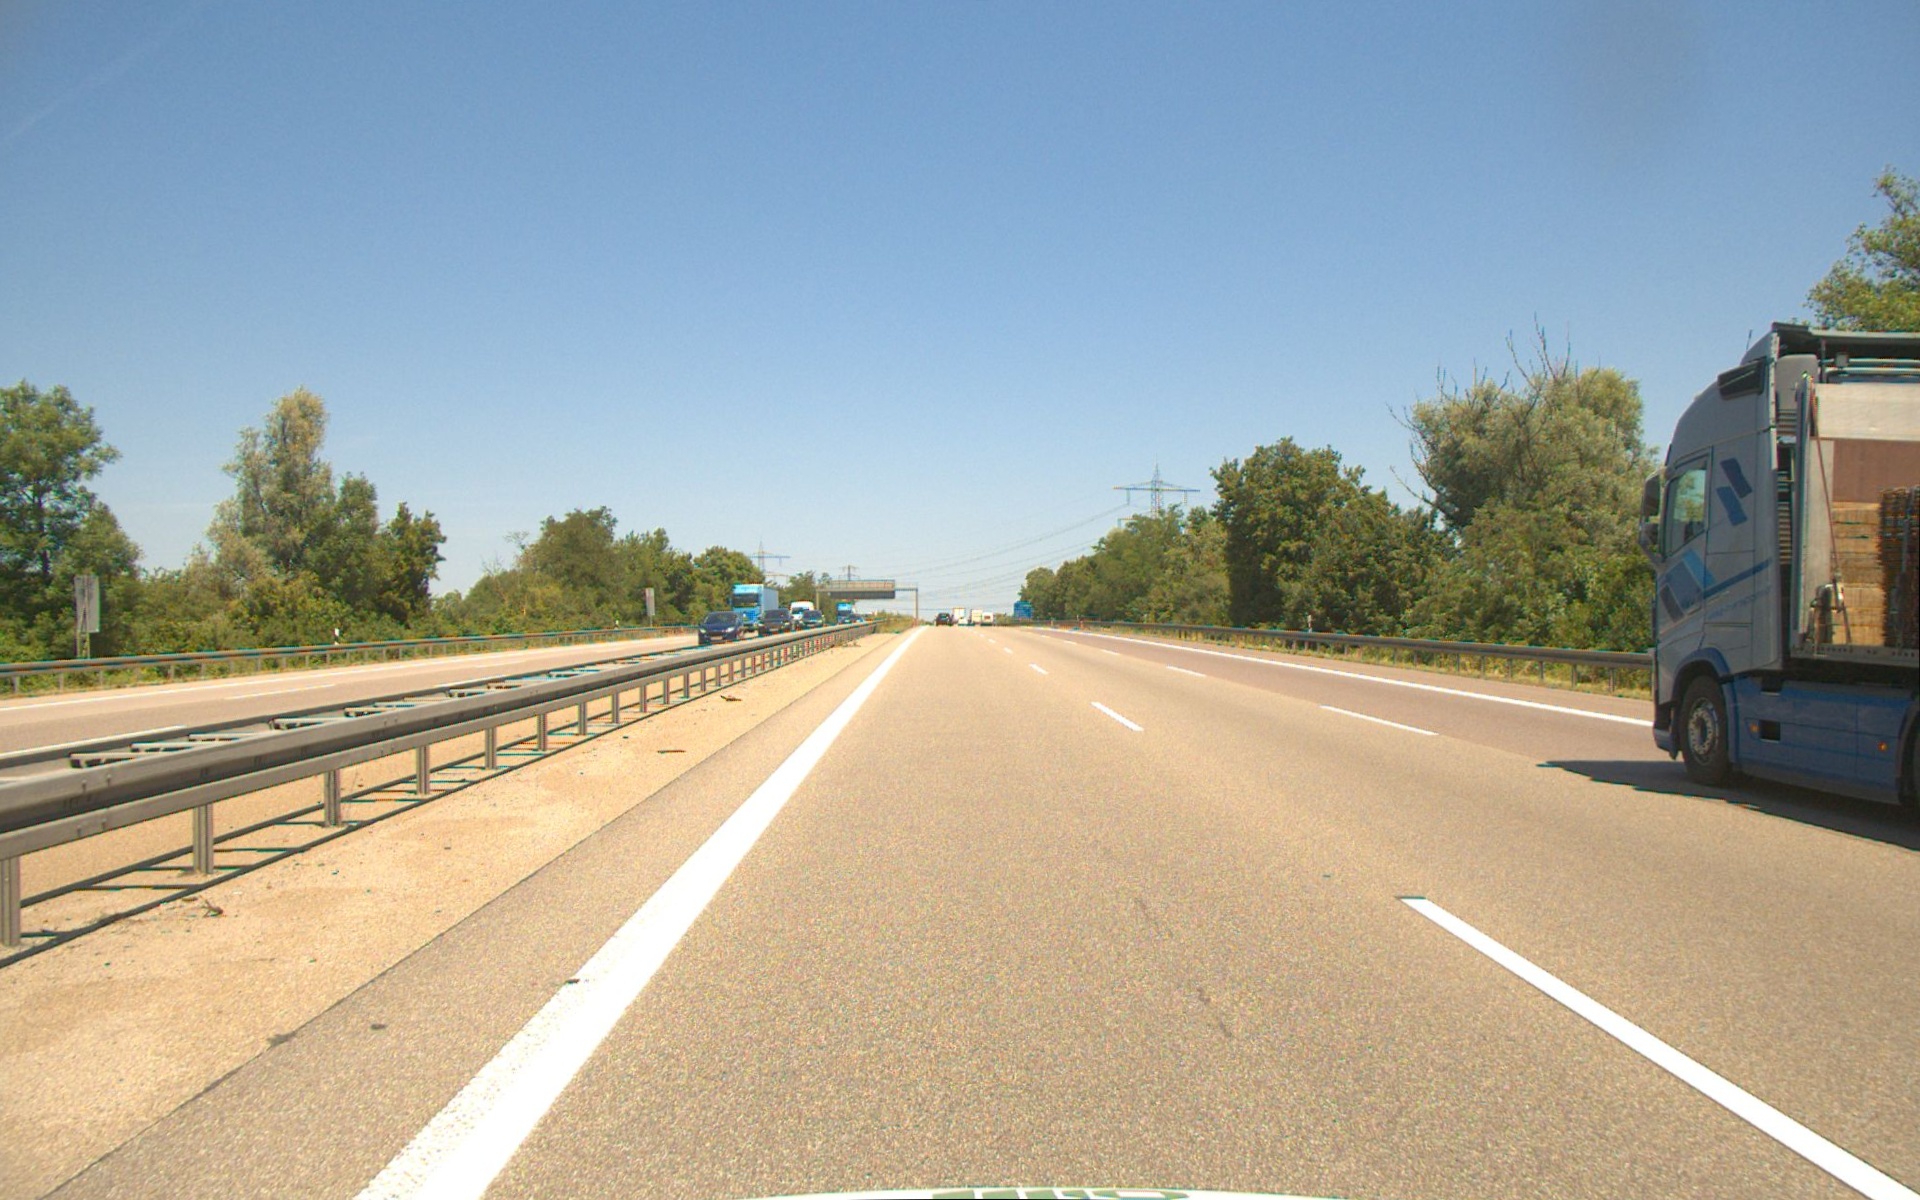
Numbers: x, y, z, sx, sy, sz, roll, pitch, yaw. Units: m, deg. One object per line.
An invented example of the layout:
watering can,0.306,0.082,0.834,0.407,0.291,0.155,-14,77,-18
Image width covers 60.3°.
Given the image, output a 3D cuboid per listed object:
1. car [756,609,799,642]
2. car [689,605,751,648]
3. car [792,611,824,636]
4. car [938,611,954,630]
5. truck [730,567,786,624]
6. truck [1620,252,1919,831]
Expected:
car,-10.141,1.399,92.148,1.953,1.719,4.407,-1,0,-1
car,-10.237,1.110,70.906,1.953,1.632,4.598,-4,0,-1
car,-11.130,1.719,121.697,1.953,1.719,4.407,-2,0,-1
car,-1.540,2.269,180.904,1.755,2.049,3.887,1,-1,0
truck,-18.237,-0.321,150.405,3.161,4.802,16.854,-3,0,-1
truck,8.198,-0.436,8.160,2.909,4.026,16.607,1,-1,-1
